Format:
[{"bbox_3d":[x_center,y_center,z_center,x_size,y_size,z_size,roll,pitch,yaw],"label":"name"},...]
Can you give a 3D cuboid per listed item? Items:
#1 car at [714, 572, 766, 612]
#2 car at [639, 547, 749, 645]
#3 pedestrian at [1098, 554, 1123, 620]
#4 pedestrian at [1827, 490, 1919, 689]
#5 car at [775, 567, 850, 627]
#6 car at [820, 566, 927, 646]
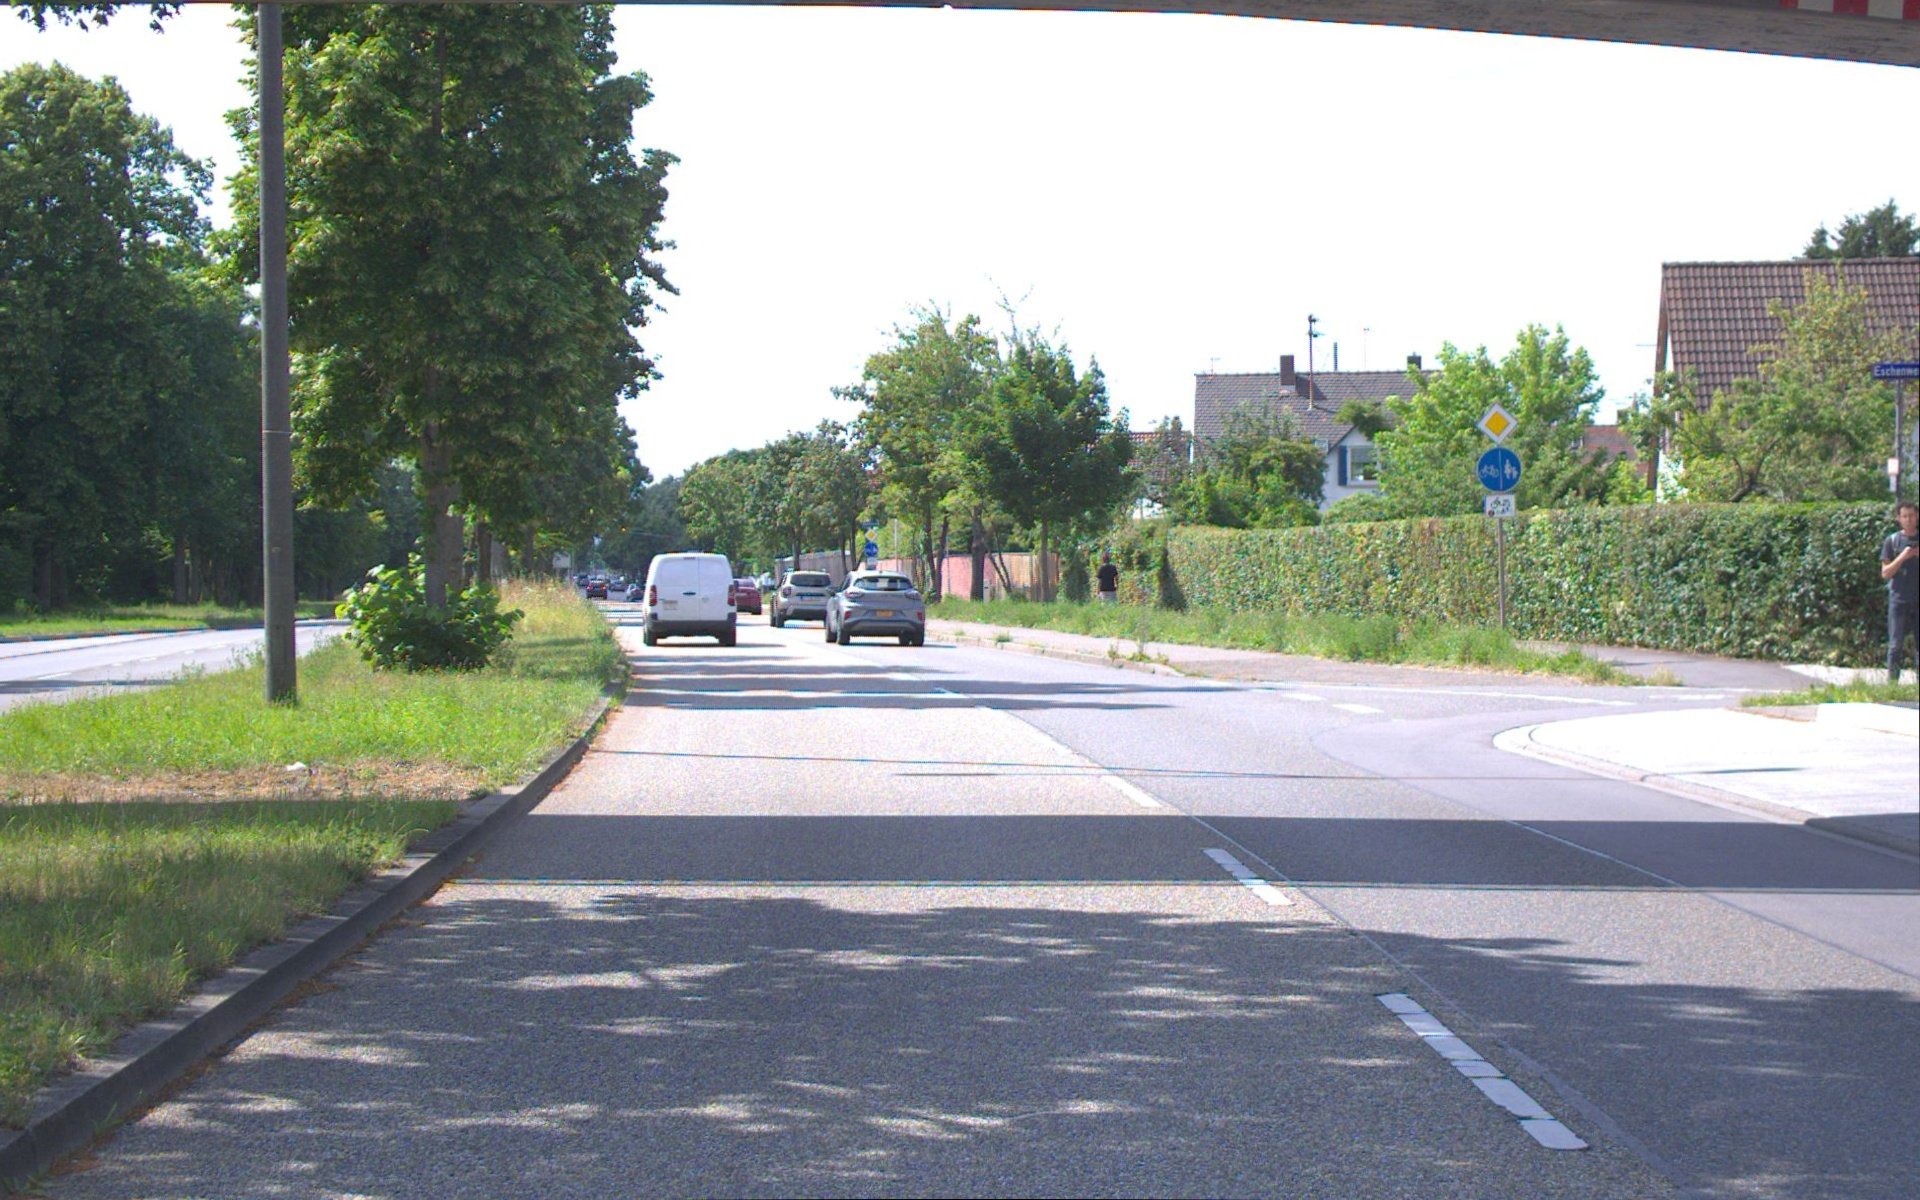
[{"bbox_3d":[-8.769,-0.329,136.760,1.880,1.582,4.001,0,0,-6],"label":"car"},{"bbox_3d":[-5.382,-0.093,69.104,2.065,1.905,4.647,0,0,-6],"label":"car"},{"bbox_3d":[3.861,-0.340,88.234,0.560,1.671,0.634,0,0,-7],"label":"pedestrian"},{"bbox_3d":[8.823,-0.092,32.294,0.954,1.818,1.088,-2,-2,-3],"label":"pedestrian"},{"bbox_3d":[-4.227,-0.087,98.213,1.875,1.647,4.001,0,0,-6],"label":"car"},{"bbox_3d":[-1.820,0.117,71.171,1.875,1.583,4.185,0,0,-6],"label":"car"}]
